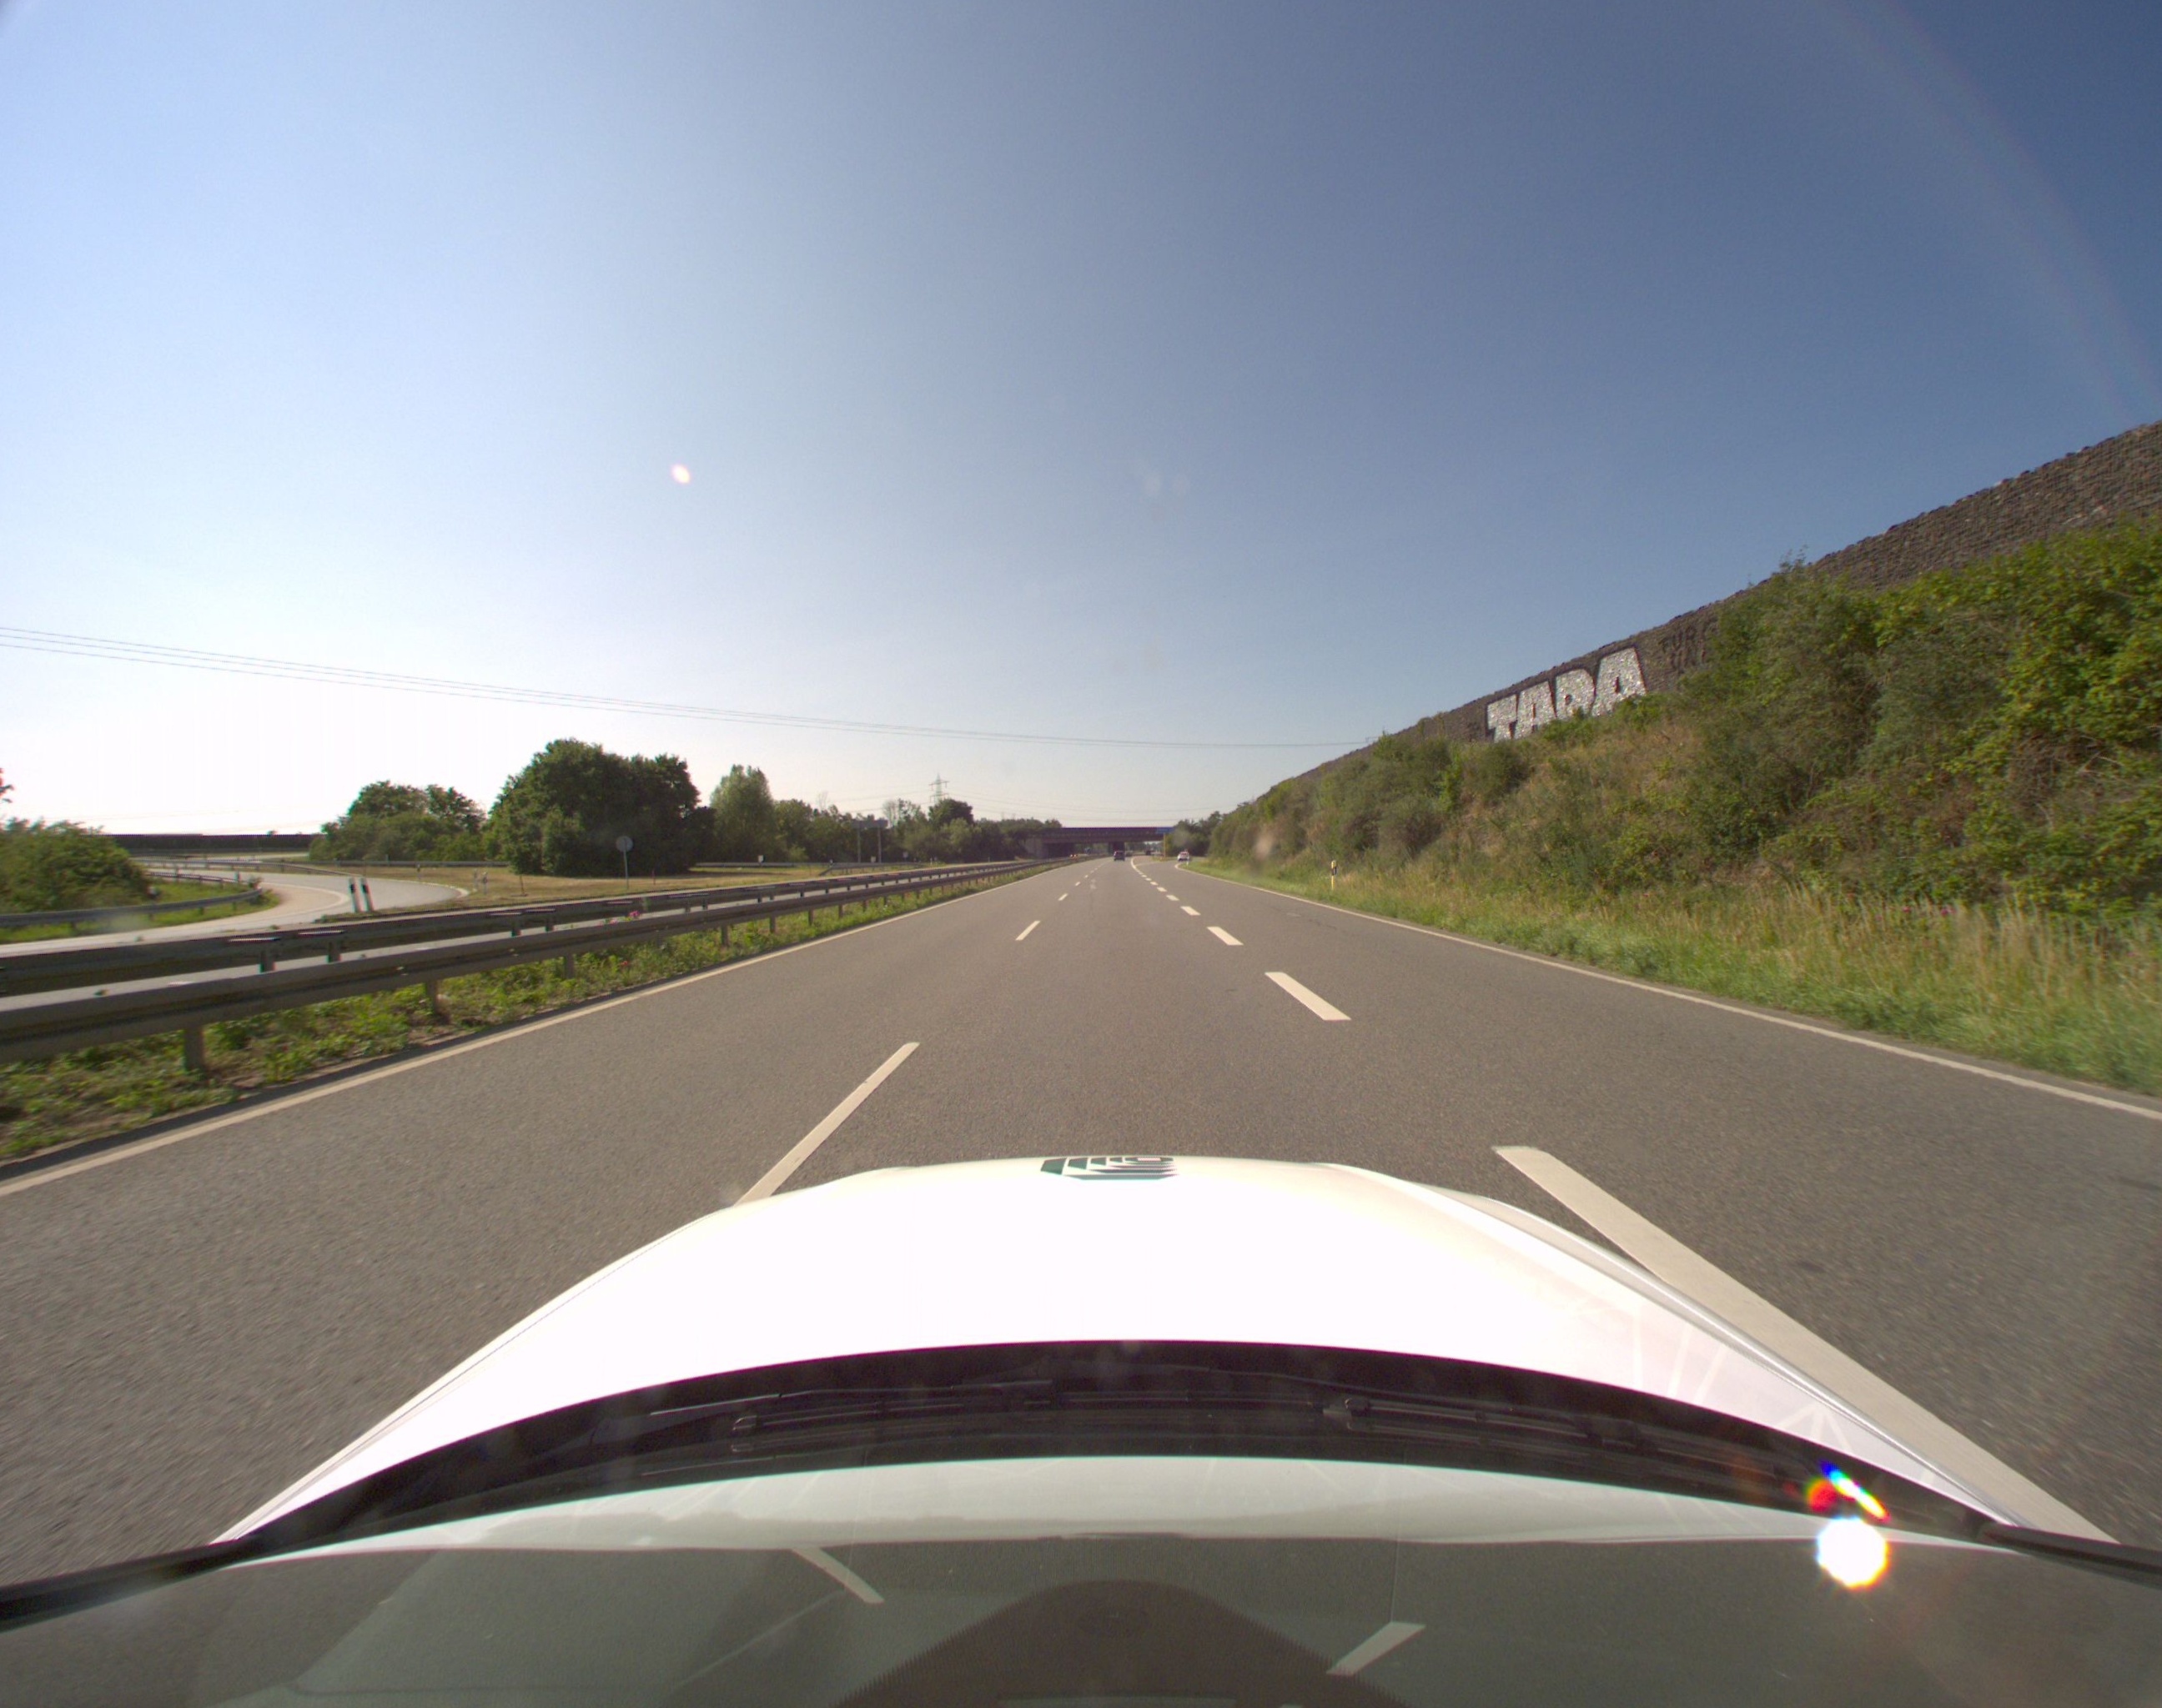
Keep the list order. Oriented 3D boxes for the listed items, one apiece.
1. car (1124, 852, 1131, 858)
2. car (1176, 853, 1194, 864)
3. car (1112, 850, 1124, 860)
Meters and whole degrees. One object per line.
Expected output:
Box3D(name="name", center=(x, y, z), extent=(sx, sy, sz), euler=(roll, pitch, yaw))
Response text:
Box3D(name="car", center=(12.181, 0.329, 212.121), extent=(1.841, 1.644, 4.005), euler=(0, 0, 4))
Box3D(name="car", center=(16.105, 0.737, 126.145), extent=(1.781, 1.665, 4.022), euler=(2, 1, 22))
Box3D(name="car", center=(6.101, 0.205, 135.172), extent=(1.841, 1.644, 4.005), euler=(0, 0, 4))
